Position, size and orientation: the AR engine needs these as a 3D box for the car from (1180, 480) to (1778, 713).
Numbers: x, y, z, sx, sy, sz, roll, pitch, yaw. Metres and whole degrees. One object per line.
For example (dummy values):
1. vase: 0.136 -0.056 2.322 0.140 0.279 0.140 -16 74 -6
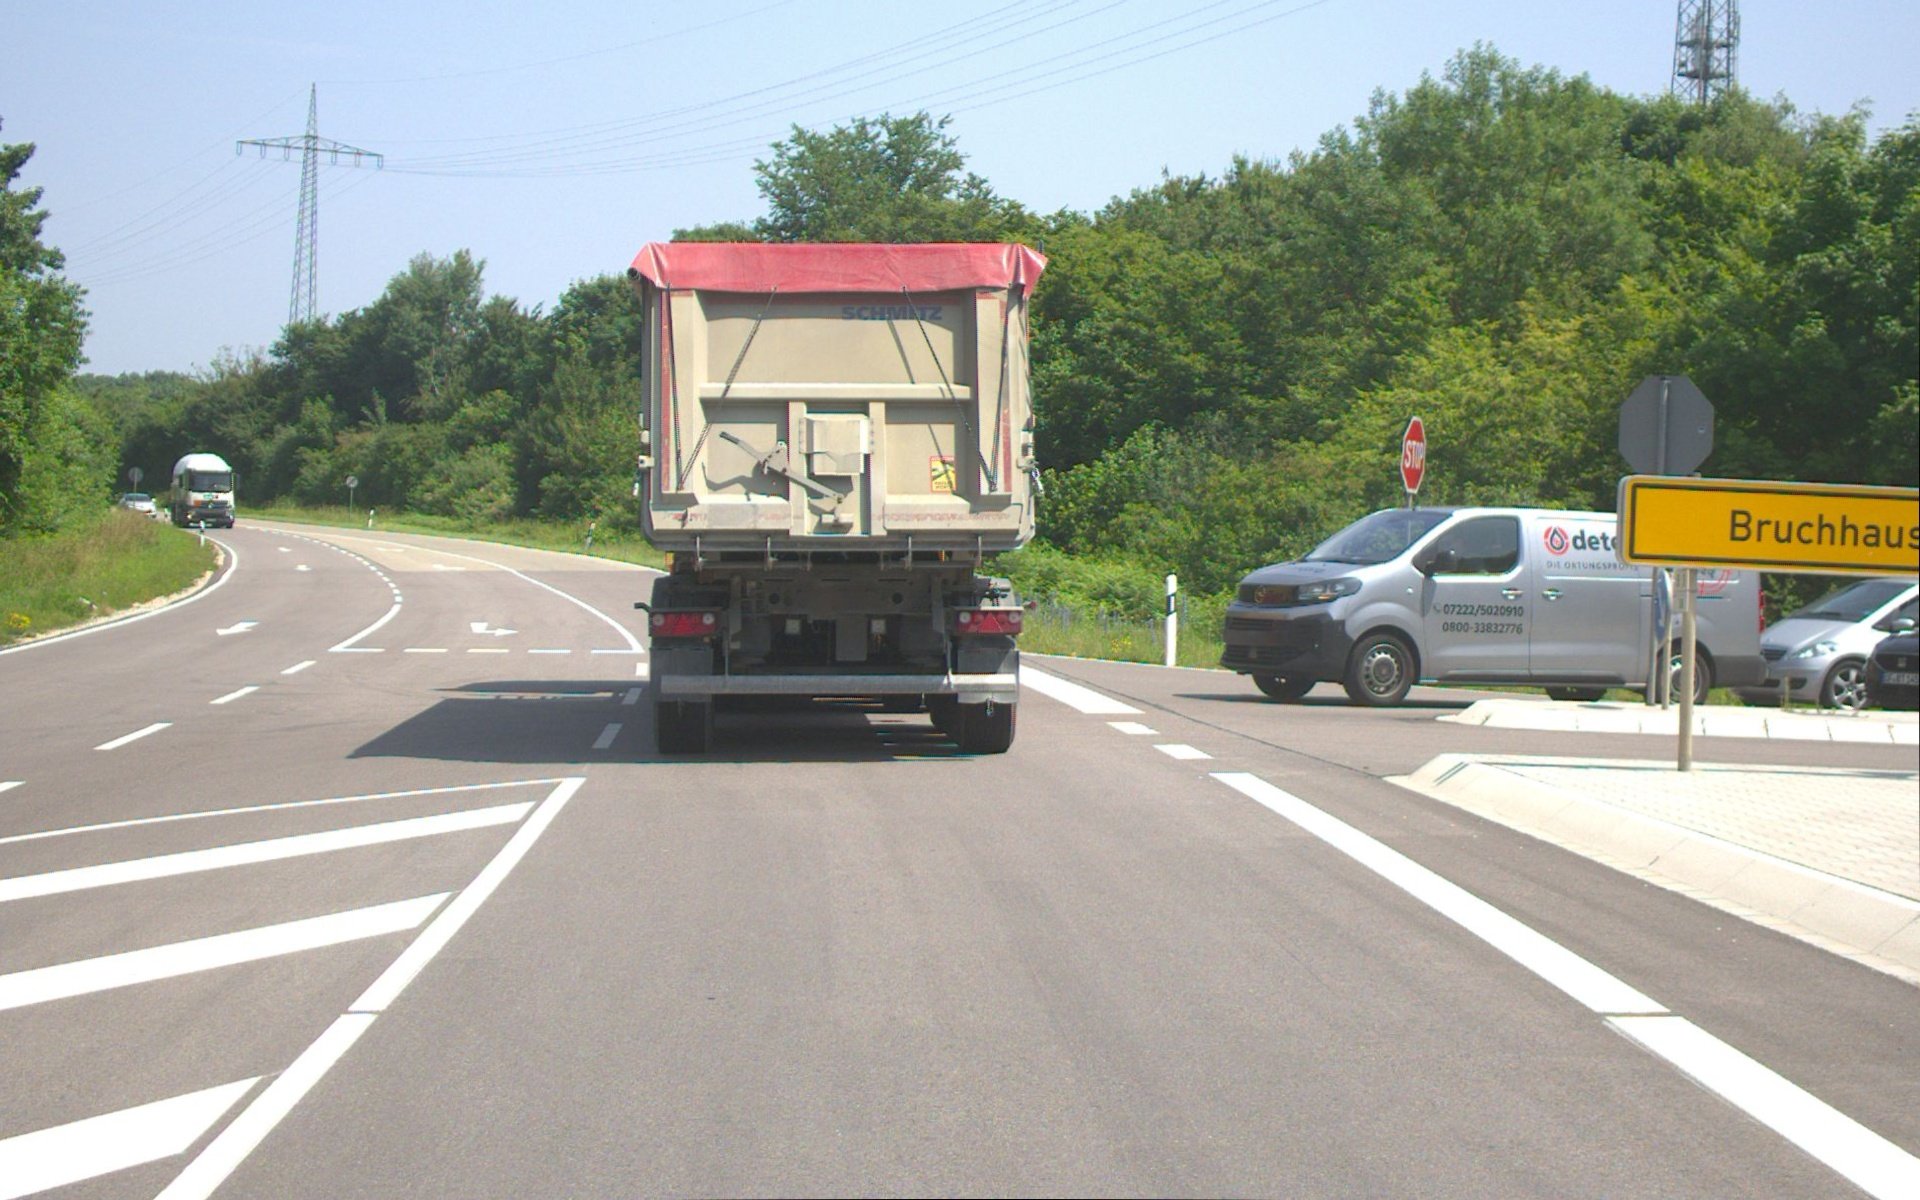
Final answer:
1. car: 4.873 -0.013 32.182 5.212 1.900 2.014 3 0 -25

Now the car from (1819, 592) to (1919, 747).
1. car: 11.095 0.703 34.824 4.548 1.469 1.869 1 1 -29

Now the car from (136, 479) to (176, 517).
1. car: -38.700 -4.891 165.493 1.842 1.773 4.895 0 1 -13

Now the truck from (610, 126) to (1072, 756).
1. truck: -1.299 -1.144 27.691 2.893 3.949 11.935 0 1 -5

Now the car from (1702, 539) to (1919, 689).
1. car: 10.332 0.130 37.817 3.980 1.574 1.846 0 1 -28

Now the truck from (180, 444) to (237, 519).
1. truck: -37.465 -5.873 171.460 2.626 3.658 8.799 0 1 -11
